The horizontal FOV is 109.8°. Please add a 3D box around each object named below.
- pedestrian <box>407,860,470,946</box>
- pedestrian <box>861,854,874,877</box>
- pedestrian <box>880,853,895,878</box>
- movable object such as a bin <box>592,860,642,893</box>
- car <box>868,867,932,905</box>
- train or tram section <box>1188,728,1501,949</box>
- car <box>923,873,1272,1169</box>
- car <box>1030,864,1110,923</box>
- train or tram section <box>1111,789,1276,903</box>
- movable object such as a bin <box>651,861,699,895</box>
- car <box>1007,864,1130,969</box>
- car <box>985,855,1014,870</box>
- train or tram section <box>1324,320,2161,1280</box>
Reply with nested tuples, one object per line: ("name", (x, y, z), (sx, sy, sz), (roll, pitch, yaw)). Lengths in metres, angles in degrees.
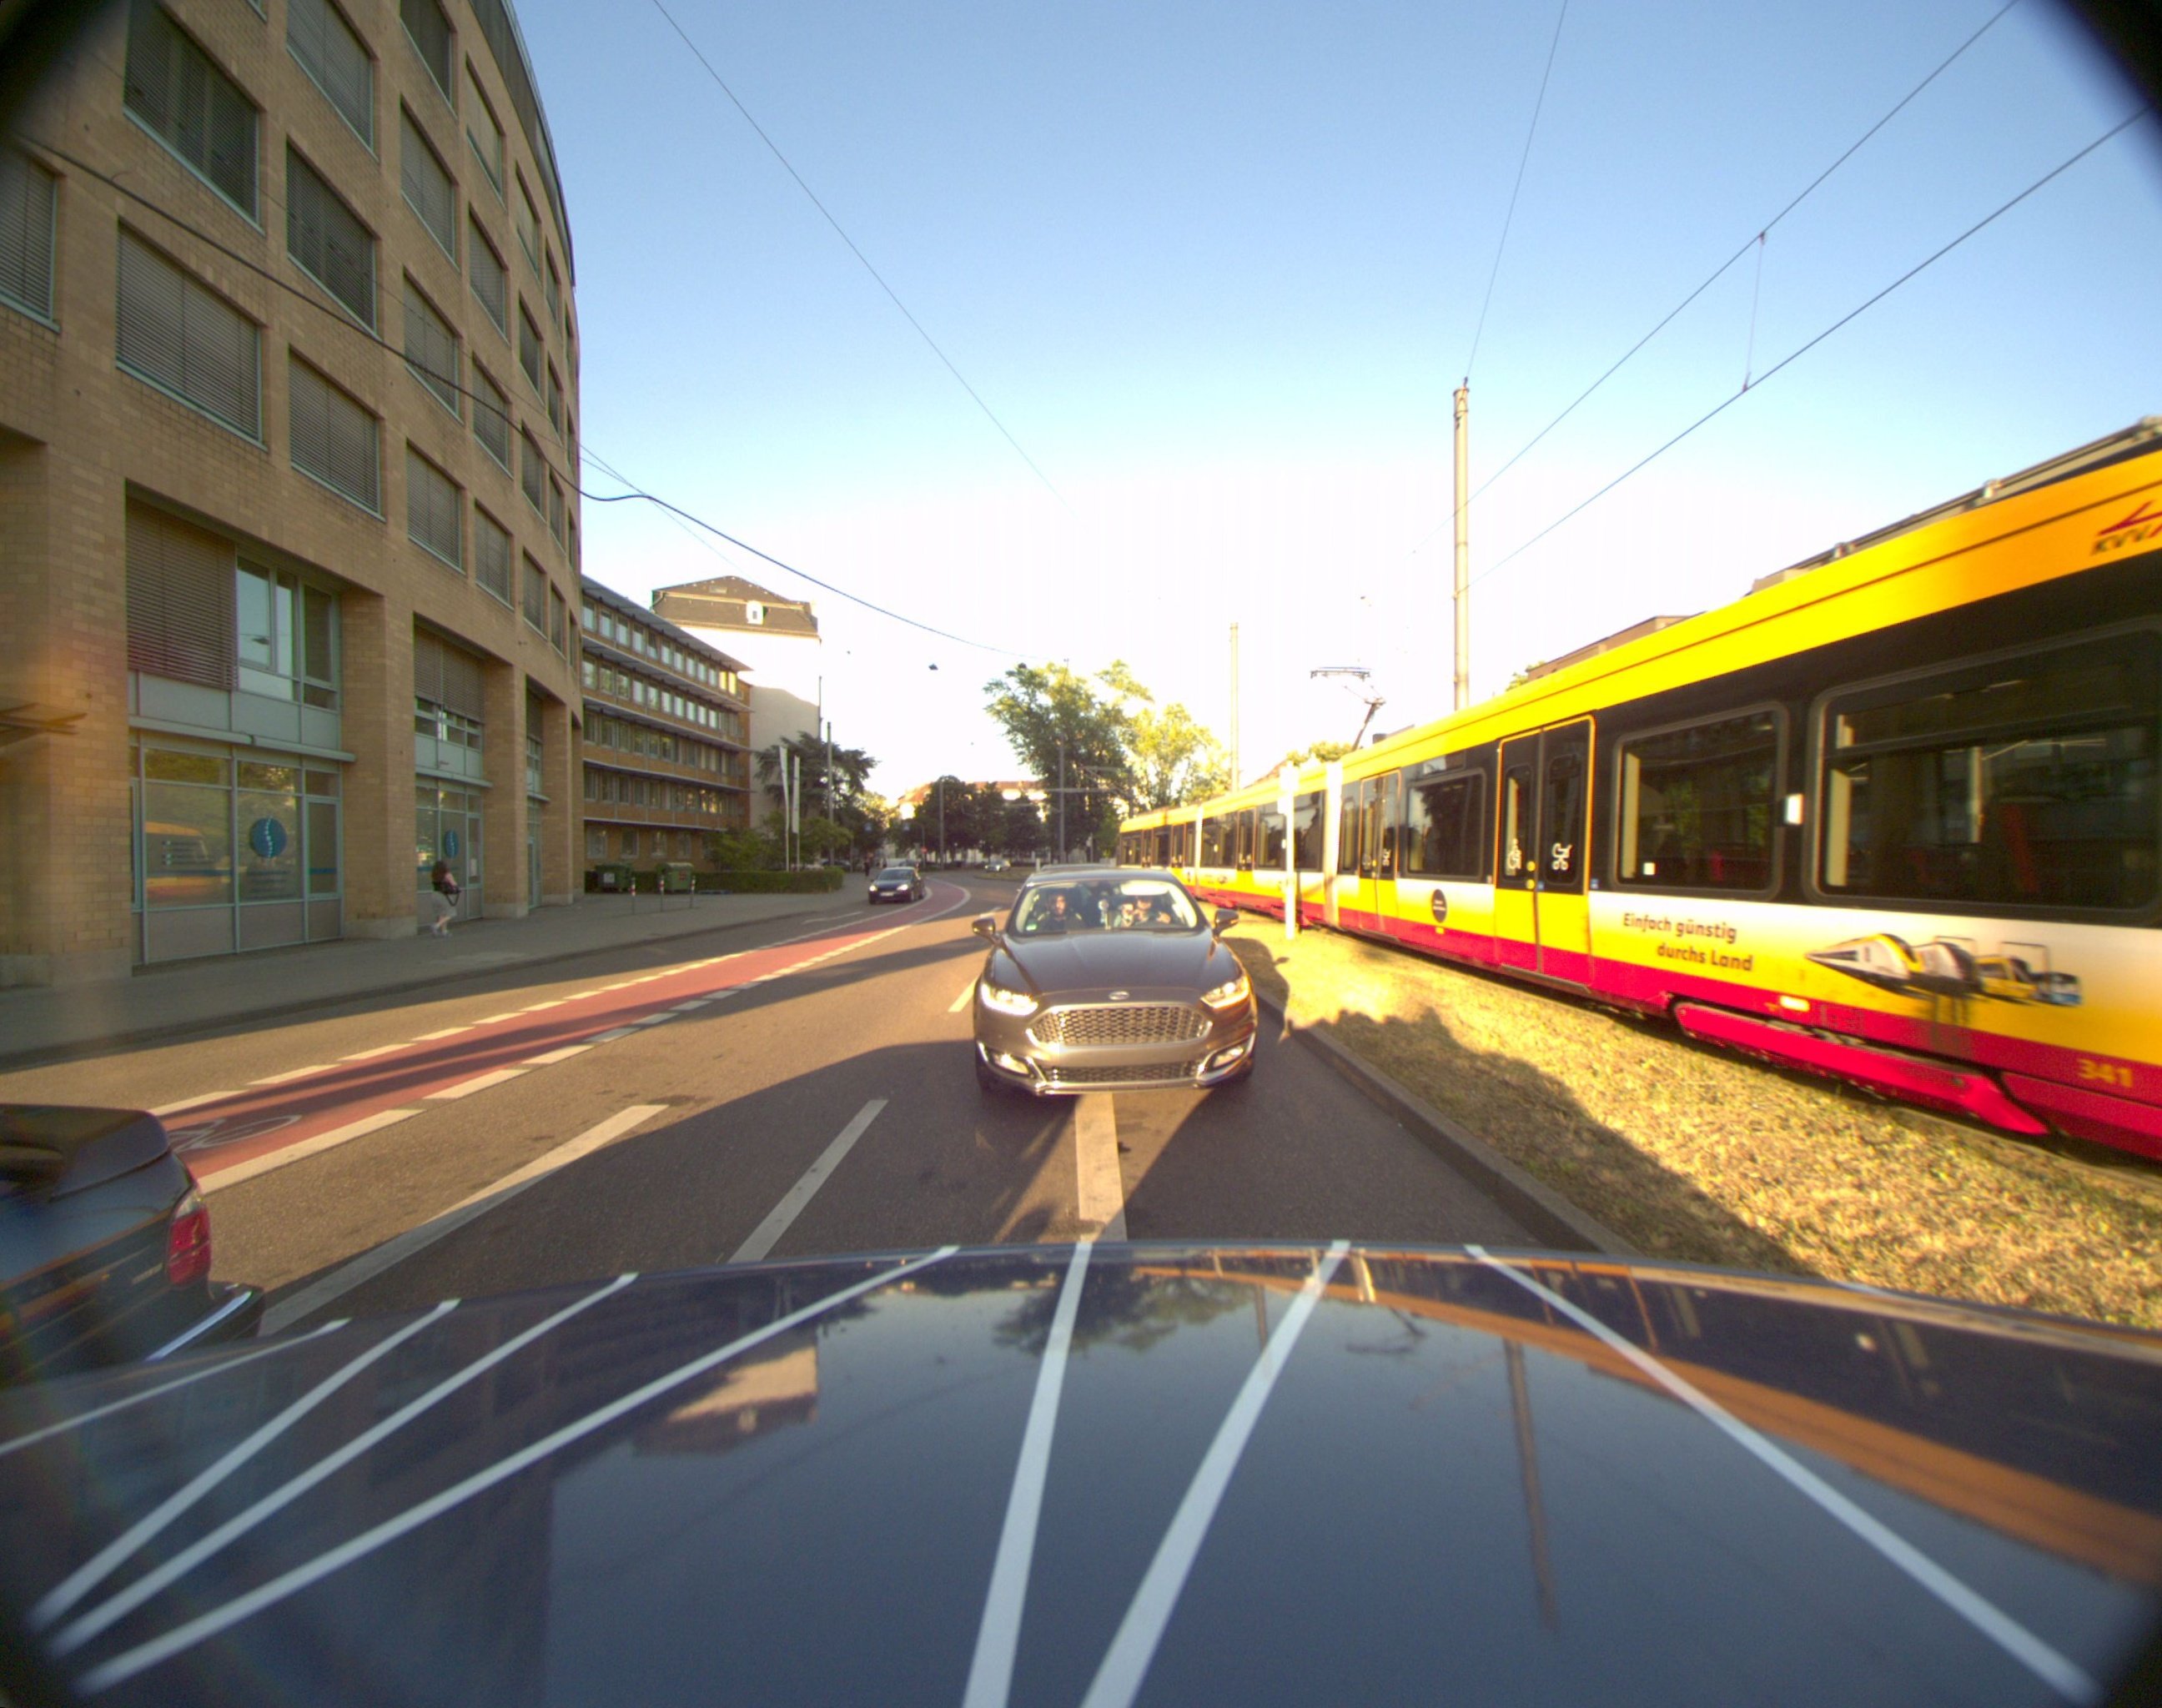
("pedestrian", (-12.835, 0.956, 15.203), (0.628, 1.672, 0.713), (-1, 1, -3))
("pedestrian", (-16.477, 0.871, 58.697), (0.728, 1.797, 0.724), (-1, 1, 1))
("pedestrian", (-14.736, 0.843, 57.878), (0.913, 1.883, 1.124), (-1, 1, -27))
("movable object such as a bin", (-21.181, 1.032, 34.728), (1.427, 1.450, 1.332), (-1, 0, -2))
("car", (-7.609, 1.310, 32.282), (1.759, 1.379, 3.999), (-2, 0, -1))
("train or tram section", (5.359, -0.288, 18.983), (2.885, 3.717, 12.179), (-1, 0, -4))
("car", (0.131, 0.973, 6.493), (1.890, 1.477, 4.725), (0, 0, 1))
("car", (-0.428, 1.060, 21.977), (1.999, 1.453, 4.141), (-1, 0, -5))
("train or tram section", (3.943, -0.276, 30.865), (2.915, 3.717, 12.180), (-1, 0, -10))
("movable object such as a bin", (-18.267, 1.060, 34.220), (1.427, 1.450, 1.332), (-1, 0, -3))
("car", (-0.146, 1.002, 14.113), (1.897, 1.526, 4.705), (-1, 0, 1))
("car", (-9.956, 1.049, 93.165), (1.996, 1.739, 4.005), (0, 0, 19))
("train or tram section", (5.685, -0.227, 6.759), (2.916, 3.717, 13.218), (-1, 0, 1))
